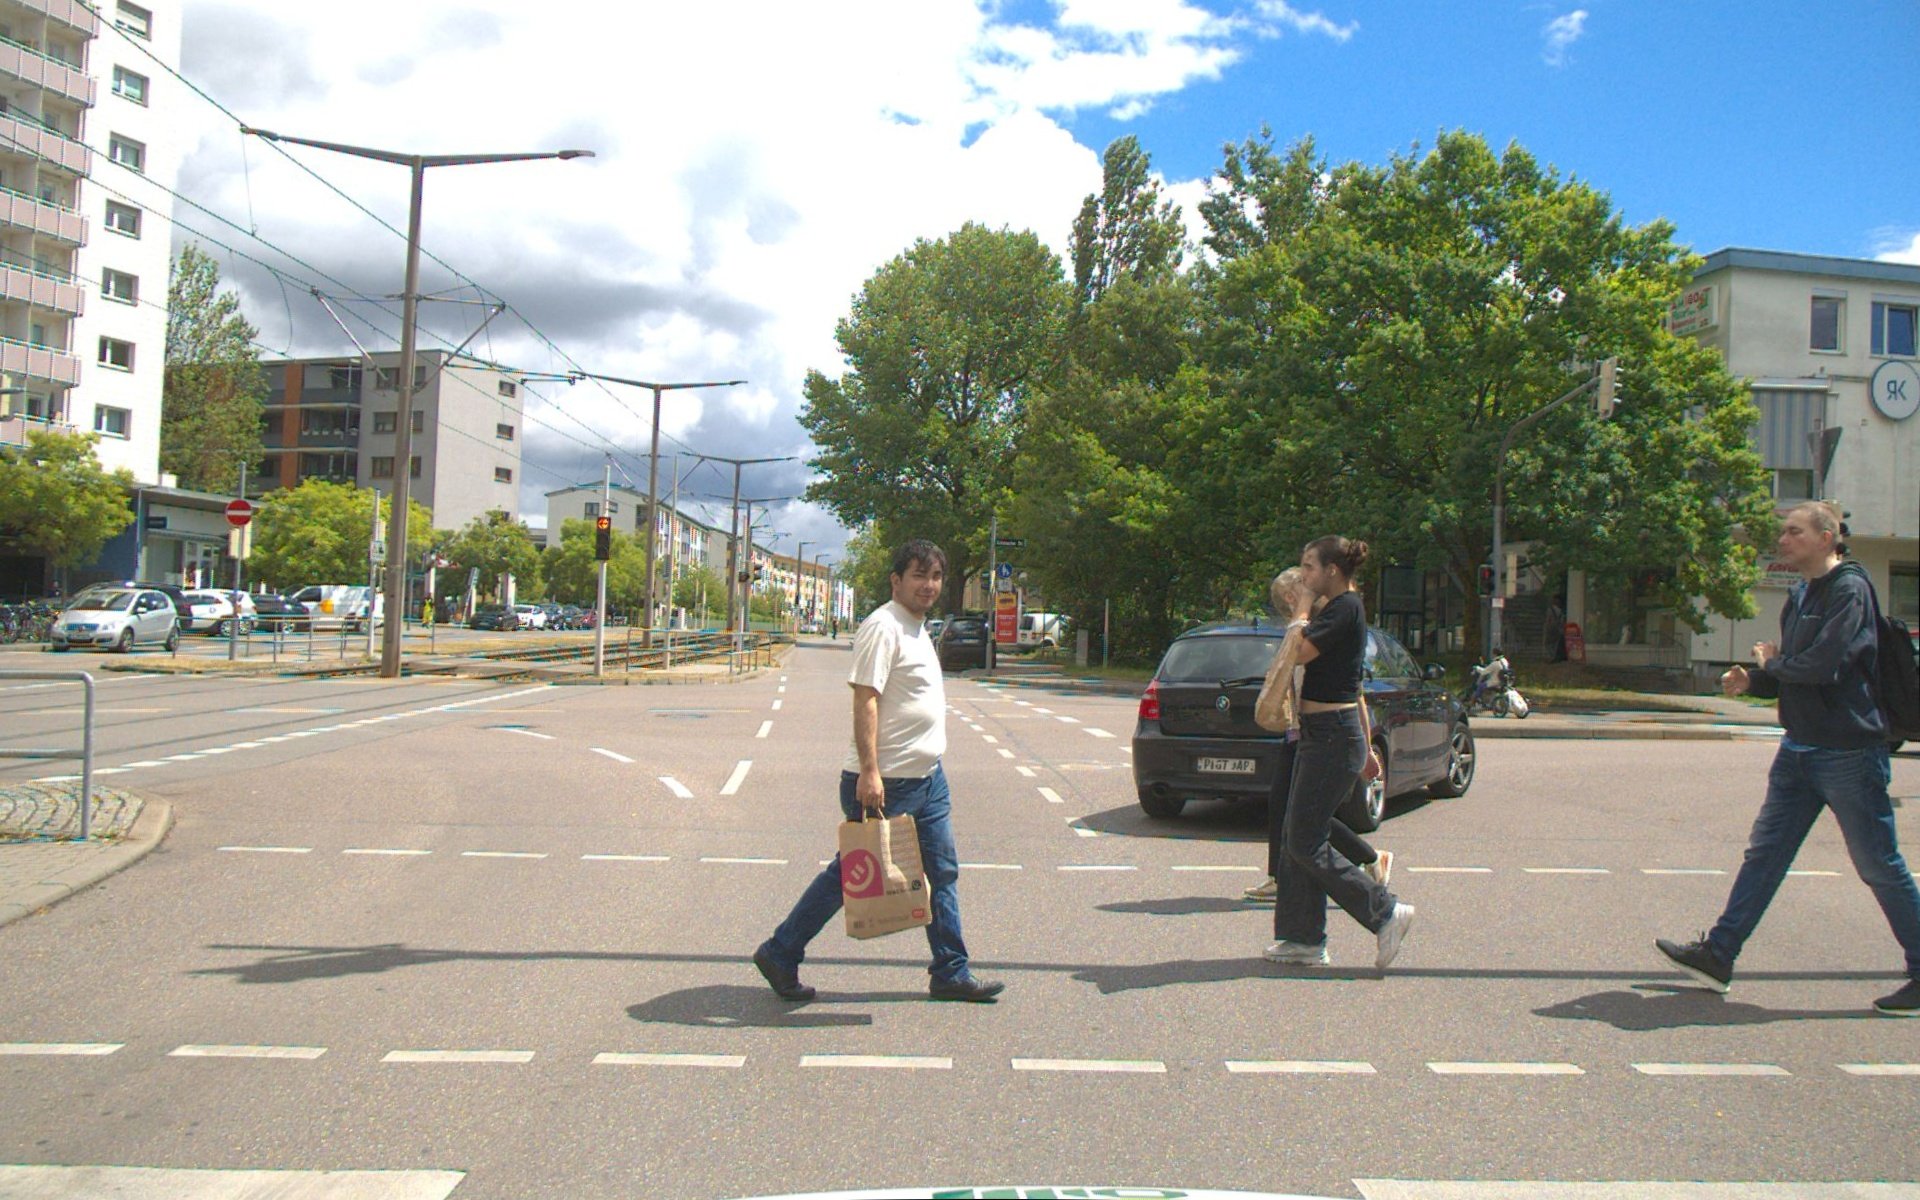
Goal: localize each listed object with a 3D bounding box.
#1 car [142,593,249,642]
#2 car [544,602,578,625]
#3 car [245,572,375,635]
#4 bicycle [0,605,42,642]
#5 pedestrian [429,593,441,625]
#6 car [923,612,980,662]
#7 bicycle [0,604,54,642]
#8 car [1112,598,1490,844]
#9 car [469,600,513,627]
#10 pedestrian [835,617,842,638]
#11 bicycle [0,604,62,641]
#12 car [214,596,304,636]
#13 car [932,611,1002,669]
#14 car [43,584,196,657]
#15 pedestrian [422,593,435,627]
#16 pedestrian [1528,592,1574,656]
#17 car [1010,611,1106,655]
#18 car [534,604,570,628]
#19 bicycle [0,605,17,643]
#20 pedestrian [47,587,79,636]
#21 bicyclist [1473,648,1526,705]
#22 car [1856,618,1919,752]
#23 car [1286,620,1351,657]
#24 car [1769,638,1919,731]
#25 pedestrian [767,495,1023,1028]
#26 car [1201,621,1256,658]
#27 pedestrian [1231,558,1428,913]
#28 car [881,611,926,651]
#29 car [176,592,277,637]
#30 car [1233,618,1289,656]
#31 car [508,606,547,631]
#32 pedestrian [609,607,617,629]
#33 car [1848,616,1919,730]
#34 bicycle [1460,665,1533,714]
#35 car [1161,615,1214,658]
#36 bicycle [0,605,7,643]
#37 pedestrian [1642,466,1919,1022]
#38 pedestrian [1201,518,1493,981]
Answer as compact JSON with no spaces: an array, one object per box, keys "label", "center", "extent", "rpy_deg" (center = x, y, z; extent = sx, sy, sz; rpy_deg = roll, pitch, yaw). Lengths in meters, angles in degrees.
[{"label":"car","center":[-26.807,0.608,57.928],"extent":[4.143,1.597,1.949],"rpy_deg":[1,0,43]},{"label":"car","center":[-26.409,0.895,109.645],"extent":[1.728,1.419,3.993],"rpy_deg":[1,0,-7]},{"label":"car","center":[-27.346,0.128,69.444],"extent":[2.811,2.522,6.614],"rpy_deg":[1,0,-44]},{"label":"bicycle","center":[-24.823,0.594,42.699],"extent":[1.910,0.951,0.494],"rpy_deg":[1,-1,-7]},{"label":"pedestrian","center":[-28.727,0.494,90.451],"extent":[0.537,1.746,0.404],"rpy_deg":[1,0,-11]},{"label":"car","center":[-0.319,1.331,59.646],"extent":[1.953,1.713,3.999],"rpy_deg":[1,-1,-1]},{"label":"bicycle","center":[-24.830,0.598,43.251],"extent":[1.910,0.951,0.494],"rpy_deg":[1,-1,-7]},{"label":"car","center":[2.750,0.782,12.600],"extent":[1.719,1.513,3.994],"rpy_deg":[1,0,29]},{"label":"car","center":[-25.803,0.709,91.026],"extent":[1.728,1.419,3.993],"rpy_deg":[1,0,-7]},{"label":"pedestrian","center":[-9.668,2.190,131.656],"extent":[0.469,1.665,0.454],"rpy_deg":[1,0,-2]},{"label":"bicycle","center":[-24.886,0.600,43.744],"extent":[1.910,0.951,0.494],"rpy_deg":[1,-1,-7]},{"label":"car","center":[-27.230,0.619,64.199],"extent":[4.147,1.445,1.777],"rpy_deg":[1,0,45]},{"label":"car","center":[0.186,1.261,52.208],"extent":[2.108,1.713,3.999],"rpy_deg":[1,-1,-1]},{"label":"car","center":[-21.276,0.507,42.041],"extent":[1.898,1.723,3.872],"rpy_deg":[1,0,-1]},{"label":"pedestrian","center":[-27.400,0.515,85.290],"extent":[0.537,1.746,0.667],"rpy_deg":[1,0,-11]},{"label":"pedestrian","center":[15.716,0.640,43.995],"extent":[0.756,1.672,0.903],"rpy_deg":[2,0,-16]},{"label":"car","center":[4.370,1.478,73.793],"extent":[3.933,1.855,1.766],"rpy_deg":[1,0,-24]},{"label":"car","center":[-25.814,1.014,104.800],"extent":[1.728,1.419,3.993],"rpy_deg":[1,0,-7]},{"label":"bicycle","center":[-24.845,0.584,41.579],"extent":[1.910,0.951,0.494],"rpy_deg":[1,-1,-7]},{"label":"pedestrian","center":[-30.312,0.377,55.899],"extent":[0.755,1.643,0.695],"rpy_deg":[1,0,-17]},{"label":"bicyclist","center":[10.285,1.451,31.547],"extent":[0.775,1.040,0.636],"rpy_deg":[2,0,-1]},{"label":"car","center":[12.071,0.977,18.876],"extent":[3.137,1.466,1.538],"rpy_deg":[1,0,-20]},{"label":"car","center":[16.786,1.783,77.674],"extent":[1.698,1.623,3.993],"rpy_deg":[1,0,-8]},{"label":"car","center":[17.264,1.549,30.476],"extent":[3.838,1.583,1.994],"rpy_deg":[1,0,-12]},{"label":"pedestrian","center":[-0.251,0.566,6.125],"extent":[0.851,1.839,0.741],"rpy_deg":[1,0,-5]},{"label":"car","center":[12.298,1.799,75.846],"extent":[1.598,1.600,4.029],"rpy_deg":[1,0,-4]},{"label":"pedestrian","center":[1.897,0.653,8.477],"extent":[0.932,1.703,0.871],"rpy_deg":[0,-1,14]},{"label":"car","center":[-2.529,1.369,74.985],"extent":[1.953,1.713,3.999],"rpy_deg":[1,0,-1]},{"label":"car","center":[-27.165,0.521,61.210],"extent":[4.143,1.564,1.949],"rpy_deg":[1,0,43]},{"label":"car","center":[13.998,1.704,77.071],"extent":[1.598,1.623,3.997],"rpy_deg":[1,0,-4]},{"label":"car","center":[-25.753,1.063,98.497],"extent":[1.728,1.419,3.993],"rpy_deg":[1,0,-7]},{"label":"pedestrian","center":[-26.945,1.390,128.464],"extent":[0.444,1.665,0.480],"rpy_deg":[1,0,-3]},{"label":"car","center":[16.998,1.185,26.592],"extent":[4.472,1.747,1.997],"rpy_deg":[1,0,-8]},{"label":"bicycle","center":[10.275,1.708,31.732],"extent":[0.775,0.833,1.807],"rpy_deg":[2,0,-1]},{"label":"car","center":[10.291,1.614,75.125],"extent":[1.598,1.842,4.029],"rpy_deg":[1,0,-4]},{"label":"bicycle","center":[-24.797,0.581,41.074],"extent":[1.910,0.951,0.494],"rpy_deg":[1,-1,-7]},{"label":"pedestrian","center":[3.321,0.520,6.373],"extent":[0.947,1.976,0.896],"rpy_deg":[1,0,-5]},{"label":"pedestrian","center":[1.589,0.588,6.899],"extent":[0.917,1.796,0.770],"rpy_deg":[1,0,-12]}]
